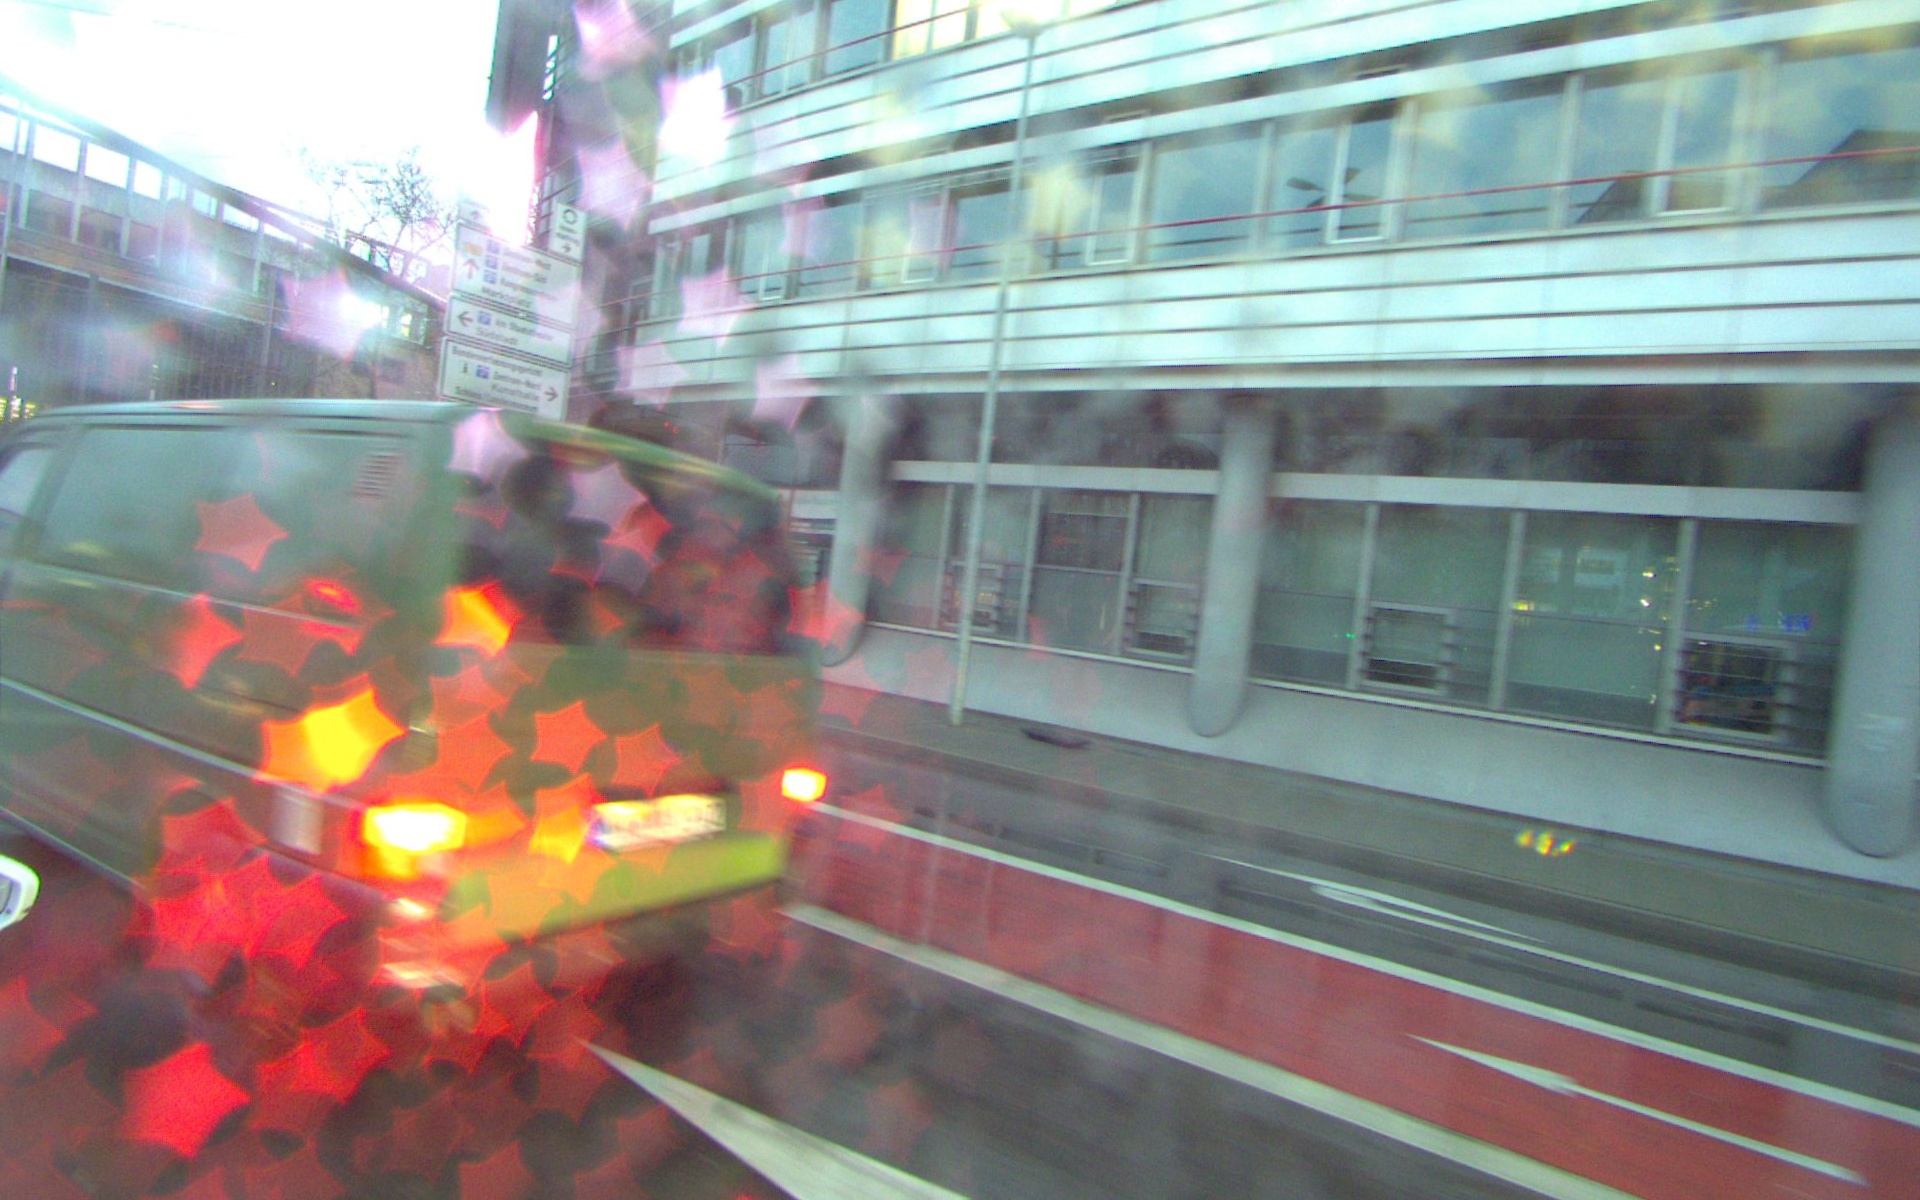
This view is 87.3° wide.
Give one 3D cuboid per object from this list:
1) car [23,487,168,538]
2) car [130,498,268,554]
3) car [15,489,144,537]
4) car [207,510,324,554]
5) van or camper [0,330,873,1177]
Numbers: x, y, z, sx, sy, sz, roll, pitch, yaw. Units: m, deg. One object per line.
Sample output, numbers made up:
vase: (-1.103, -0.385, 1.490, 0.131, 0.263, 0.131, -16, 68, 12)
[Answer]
car: (-34.999, -3.505, 40.853, 1.814, 1.278, 3.996, 11, 2, 26)
car: (-30.864, -2.974, 40.926, 1.814, 1.523, 3.996, 11, 2, 26)
car: (-38.049, -3.737, 43.561, 1.814, 1.279, 3.729, 11, 2, 26)
car: (-32.213, -3.149, 46.784, 1.814, 1.304, 3.996, 11, 2, 26)
van or camper: (-2.734, 0.205, 4.169, 4.345, 1.929, 1.760, 7, -1, 32)
